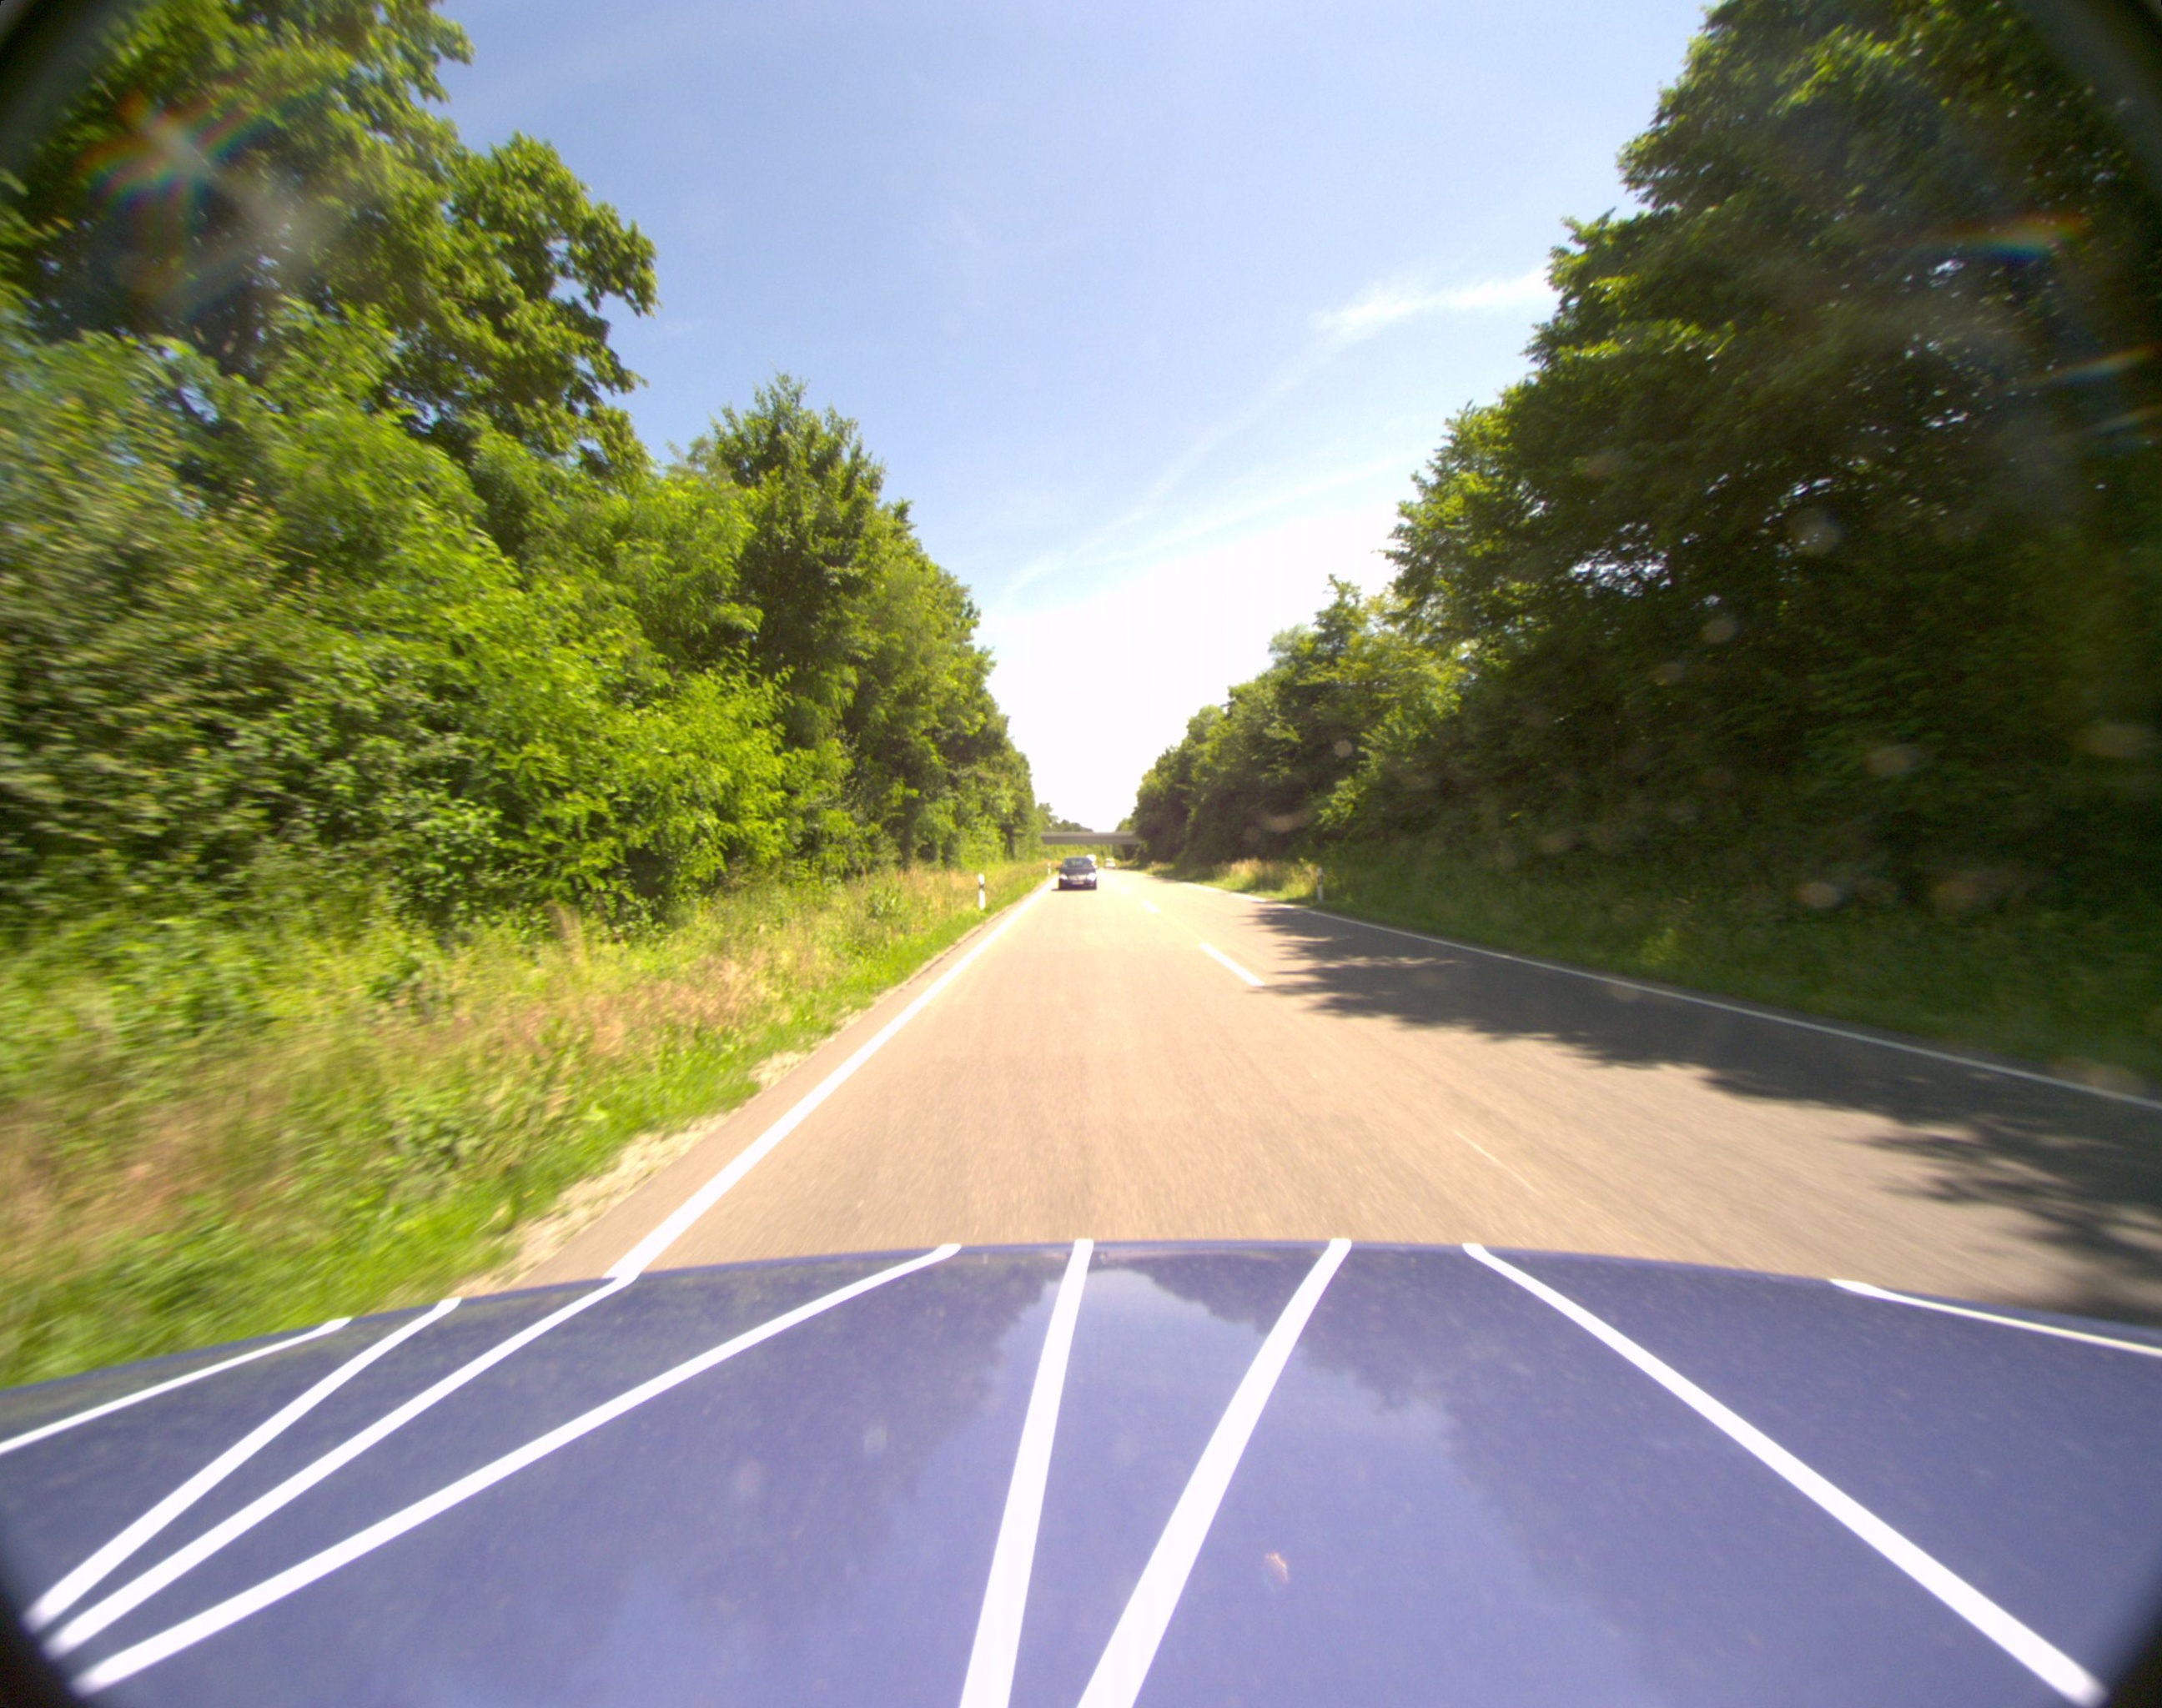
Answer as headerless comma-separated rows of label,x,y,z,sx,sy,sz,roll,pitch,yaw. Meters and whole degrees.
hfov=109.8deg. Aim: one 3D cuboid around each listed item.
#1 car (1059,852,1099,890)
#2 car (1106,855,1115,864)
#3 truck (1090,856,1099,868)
car,-0.085,0.805,36.517,1.784,1.676,4.779,-1,-1,0
car,4.959,0.911,128.406,1.516,1.583,3.793,-1,0,1
truck,4.228,2.451,235.692,2.577,3.111,11.199,-3,0,1
